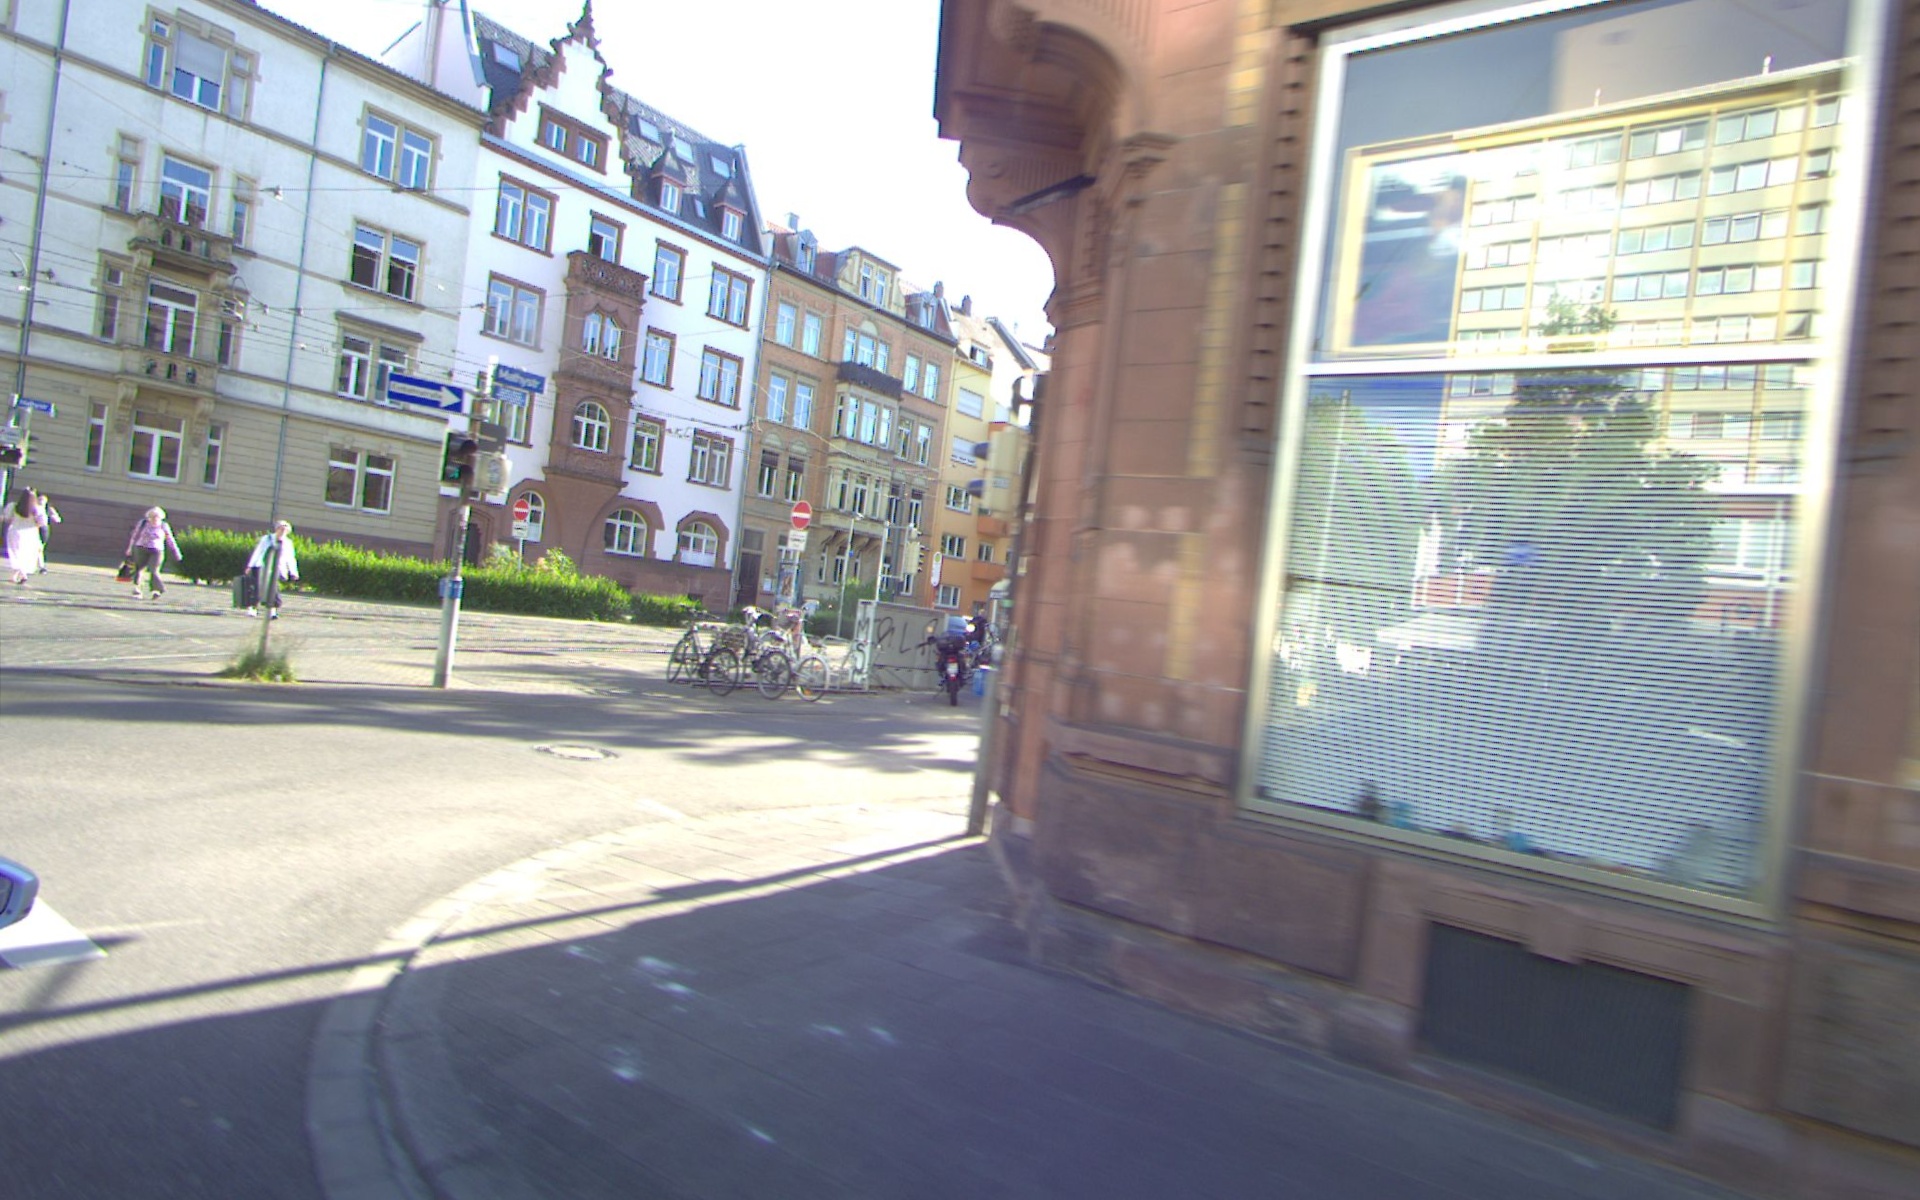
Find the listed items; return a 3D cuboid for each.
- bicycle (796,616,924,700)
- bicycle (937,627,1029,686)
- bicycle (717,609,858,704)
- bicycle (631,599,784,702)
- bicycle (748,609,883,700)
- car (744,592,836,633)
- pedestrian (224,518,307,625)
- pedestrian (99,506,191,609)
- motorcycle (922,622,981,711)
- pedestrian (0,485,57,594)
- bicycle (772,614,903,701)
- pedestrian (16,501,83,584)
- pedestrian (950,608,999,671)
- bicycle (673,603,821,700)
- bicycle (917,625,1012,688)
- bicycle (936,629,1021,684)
[{"bbox_3d":[-1.852,1.046,18.448,2.273,1.224,0.649,7,1,32],"label":"bicycle"},{"bbox_3d":[0.548,1.354,24.208,2.002,1.143,0.651,7,1,19],"label":"bicycle"},{"bbox_3d":[-2.833,0.895,16.390,2.273,1.224,0.649,7,1,32],"label":"bicycle"},{"bbox_3d":[-3.820,0.741,15.148,2.273,1.224,0.752,7,0,32],"label":"bicycle"},{"bbox_3d":[-2.495,0.909,17.175,2.273,1.224,0.649,7,1,32],"label":"bicycle"},{"bbox_3d":[-8.004,0.622,47.589,1.866,1.414,3.986,8,-1,38],"label":"car"},{"bbox_3d":[-11.600,-0.462,16.802,0.918,1.652,0.998,6,-1,-41],"label":"pedestrian"},{"bbox_3d":[-14.248,-0.719,17.623,0.913,1.652,0.937,6,-1,-25],"label":"pedestrian"},{"bbox_3d":[-0.189,1.214,18.990,0.850,1.422,1.942,8,1,-3],"label":"motorcycle"},{"bbox_3d":[-16.219,-1.028,17.391,0.640,1.764,0.699,8,-2,-35],"label":"pedestrian"},{"bbox_3d":[-2.189,1.000,17.822,2.273,1.224,0.649,7,1,32],"label":"bicycle"},{"bbox_3d":[-18.236,-1.125,20.171,0.626,1.556,0.937,5,-1,-25],"label":"pedestrian"},{"bbox_3d":[0.423,1.113,28.281,1.002,1.652,1.010,5,-1,17],"label":"pedestrian"},{"bbox_3d":[-3.359,0.795,15.797,2.273,1.224,0.752,6,0,32],"label":"bicycle"},{"bbox_3d":[0.111,1.302,23.314,2.002,1.224,0.651,5,0,19],"label":"bicycle"},{"bbox_3d":[0.477,1.453,25.951,2.001,1.143,0.651,7,1,8],"label":"bicycle"}]
